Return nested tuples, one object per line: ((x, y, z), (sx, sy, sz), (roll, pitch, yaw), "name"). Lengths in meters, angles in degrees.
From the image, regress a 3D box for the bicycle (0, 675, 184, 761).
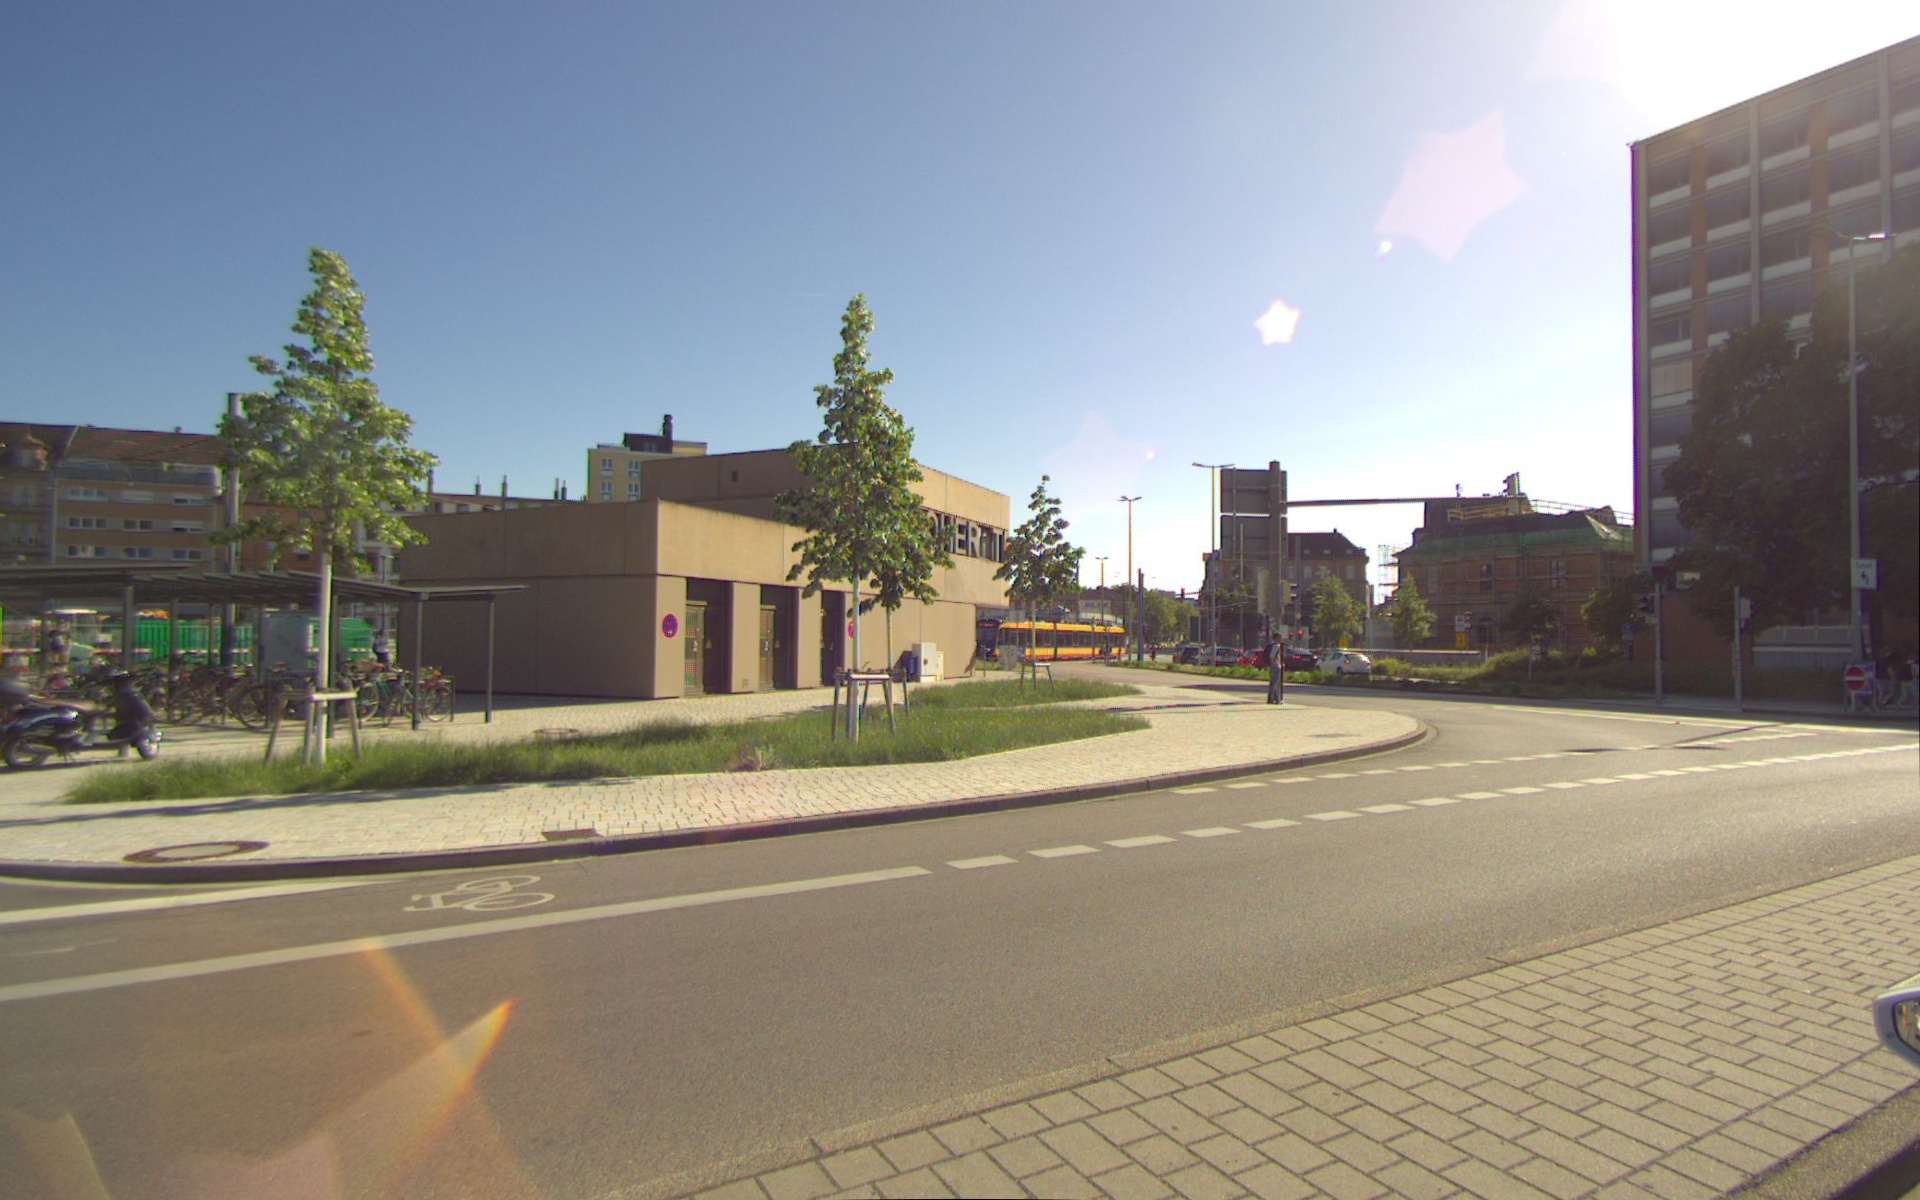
((-11.820, 1.564, 13.720), (0.449, 1.022, 1.902), (0, -2, 26), "bicycle")

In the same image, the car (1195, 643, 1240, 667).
((17.459, 3.710, 68.266), (1.760, 1.528, 3.880), (1, -2, -6), "car")

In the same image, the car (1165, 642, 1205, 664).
((16.778, 3.946, 74.992), (1.760, 1.528, 3.880), (1, -2, -6), "car")

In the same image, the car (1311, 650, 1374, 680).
((21.249, 3.607, 55.928), (1.760, 1.528, 3.880), (1, -2, -6), "car")

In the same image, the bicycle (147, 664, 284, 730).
((-12.904, 1.657, 17.486), (0.449, 1.022, 1.902), (0, -2, 26), "bicycle")

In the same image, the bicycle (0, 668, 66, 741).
((-14.165, 1.517, 14.443), (0.449, 1.022, 1.902), (0, -2, 26), "bicycle")

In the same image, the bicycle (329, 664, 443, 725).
((-10.713, 1.743, 18.816), (0.449, 1.022, 1.902), (0, -2, 26), "bicycle")

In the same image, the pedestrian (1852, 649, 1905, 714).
((27.392, 2.420, 29.957), (0.895, 1.887, 0.813), (1, -2, -16), "pedestrian")

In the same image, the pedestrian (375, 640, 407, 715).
((-15.798, 2.133, 27.890), (0.710, 2.040, 0.682), (2, -3, -30), "pedestrian")

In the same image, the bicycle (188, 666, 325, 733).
((-11.895, 1.661, 17.056), (0.449, 1.022, 1.902), (0, -2, 26), "bicycle")

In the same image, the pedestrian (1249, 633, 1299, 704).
((7.915, 1.722, 25.328), (1.044, 1.753, 0.652), (1, -2, -16), "pedestrian")

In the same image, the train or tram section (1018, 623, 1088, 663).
((8.512, 3.738, 89.985), (2.650, 3.275, 10.591), (2, 0, 26), "train or tram section")

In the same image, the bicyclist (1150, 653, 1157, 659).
((16.432, 4.754, 85.313), (0.560, 0.556, 0.431), (0, -2, 11), "bicyclist")

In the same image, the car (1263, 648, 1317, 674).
((20.576, 3.782, 62.784), (1.760, 1.528, 3.880), (1, -2, -6), "car")

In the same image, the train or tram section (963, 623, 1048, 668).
((3.841, 3.548, 80.462), (2.651, 3.275, 10.589), (2, 0, 27), "train or tram section")

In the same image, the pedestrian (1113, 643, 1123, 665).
((12.902, 4.416, 82.014), (0.761, 1.786, 0.706), (0, -2, 16), "pedestrian")

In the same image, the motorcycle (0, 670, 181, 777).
((-10.926, 1.483, 12.467), (0.508, 1.166, 1.947), (0, -2, 25), "motorcycle")

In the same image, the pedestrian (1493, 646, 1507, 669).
((41.551, 4.436, 77.293), (0.754, 1.753, 0.675), (2, -2, -39), "pedestrian")

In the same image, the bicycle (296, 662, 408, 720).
((-11.802, 1.752, 19.573), (0.449, 1.022, 1.902), (0, -2, 26), "bicycle")

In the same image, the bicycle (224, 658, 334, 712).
((-14.078, 1.738, 20.825), (0.449, 1.022, 1.902), (0, -2, 26), "bicycle")

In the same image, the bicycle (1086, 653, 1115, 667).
((11.919, 5.094, 85.100), (2.370, 1.076, 0.811), (2, 0, 15), "bicycle")

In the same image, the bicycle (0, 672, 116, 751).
((-13.035, 1.545, 14.011), (0.449, 1.022, 1.902), (0, -2, 26), "bicycle")

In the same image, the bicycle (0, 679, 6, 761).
((-12.751, 1.492, 12.000), (0.449, 1.022, 1.902), (0, -2, 26), "bicycle")

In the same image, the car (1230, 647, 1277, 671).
((20.206, 4.048, 69.245), (1.760, 1.528, 3.880), (1, -2, -6), "car")

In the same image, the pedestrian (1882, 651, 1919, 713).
((27.321, 2.356, 29.026), (0.748, 1.753, 0.680), (1, -2, -16), "pedestrian")

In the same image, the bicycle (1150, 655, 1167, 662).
((16.825, 4.936, 85.224), (1.381, 0.556, 0.435), (0, -2, 11), "bicycle")

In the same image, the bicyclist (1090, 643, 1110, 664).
((11.889, 4.542, 85.082), (1.544, 1.655, 0.811), (2, 0, 15), "bicyclist")

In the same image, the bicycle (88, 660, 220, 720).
((-15.087, 1.665, 18.861), (0.449, 1.022, 1.902), (0, -2, 26), "bicycle")

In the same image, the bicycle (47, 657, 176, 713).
((-16.705, 1.648, 19.835), (0.449, 1.022, 1.902), (0, -2, 26), "bicycle")

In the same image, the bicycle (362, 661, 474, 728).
((-9.933, 1.705, 18.486), (0.449, 1.112, 1.902), (0, -2, 26), "bicycle")

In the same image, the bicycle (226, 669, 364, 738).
((-10.916, 1.671, 16.566), (0.449, 1.022, 1.902), (0, -2, 26), "bicycle")

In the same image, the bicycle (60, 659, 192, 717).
((-15.923, 1.653, 19.237), (0.449, 1.022, 1.902), (0, -2, 26), "bicycle")

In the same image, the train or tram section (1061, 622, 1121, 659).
((13.087, 3.925, 99.515), (2.650, 3.275, 10.591), (2, 0, 26), "train or tram section")
